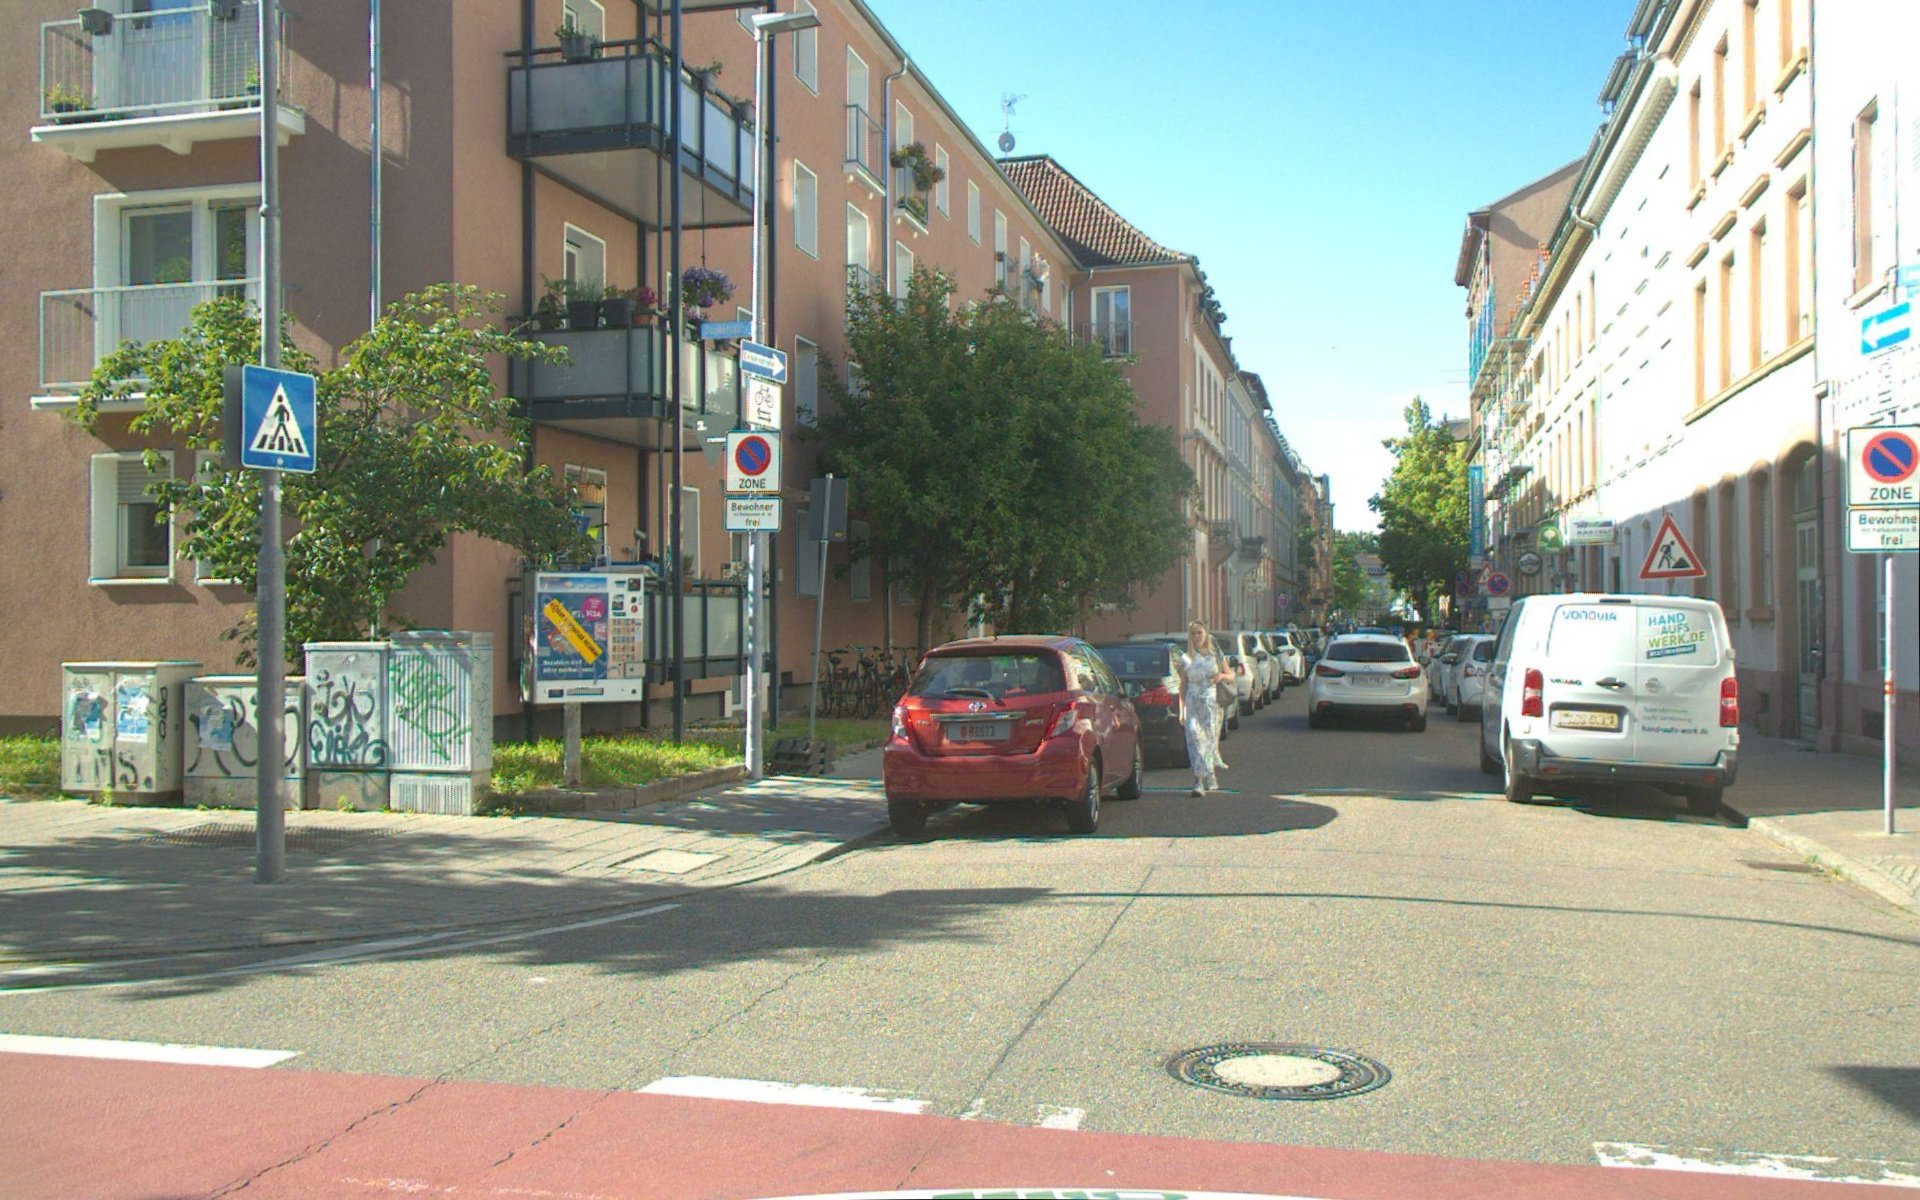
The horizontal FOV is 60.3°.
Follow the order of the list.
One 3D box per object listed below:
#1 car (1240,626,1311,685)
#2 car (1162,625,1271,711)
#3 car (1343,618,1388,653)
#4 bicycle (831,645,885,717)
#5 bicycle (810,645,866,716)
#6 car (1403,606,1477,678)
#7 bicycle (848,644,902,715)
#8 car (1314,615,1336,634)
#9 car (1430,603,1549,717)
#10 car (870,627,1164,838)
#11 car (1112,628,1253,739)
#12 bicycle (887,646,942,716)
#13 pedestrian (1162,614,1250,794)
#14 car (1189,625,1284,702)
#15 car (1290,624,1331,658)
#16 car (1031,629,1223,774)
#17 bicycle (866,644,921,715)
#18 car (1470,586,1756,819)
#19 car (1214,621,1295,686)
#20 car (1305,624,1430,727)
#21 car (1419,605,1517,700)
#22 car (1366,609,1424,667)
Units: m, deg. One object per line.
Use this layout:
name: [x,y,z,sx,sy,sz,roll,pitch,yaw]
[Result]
car: [8.709,1.488,45.497,1.618,1.526,3.765,-1,-1,15]
car: [4.937,1.249,31.455,1.618,1.526,3.765,-1,-1,15]
car: [17.351,1.507,70.618,1.723,1.435,4.330,-1,-1,15]
bicycle: [-1.610,1.257,25.992,0.263,1.091,1.201,0,-1,-35]
bicycle: [-1.905,1.243,25.785,0.288,1.053,1.201,0,-1,-35]
car: [13.539,1.165,46.735,1.854,1.892,3.997,-2,-1,16]
bicycle: [-1.360,1.244,26.196,0.250,1.089,1.201,0,-1,-35]
car: [30.727,2.076,139.084,1.618,1.526,3.765,-1,-1,15]
car: [9.446,1.027,29.746,1.854,1.892,3.997,-1,-1,15]
car: [0.628,1.033,14.213,1.649,1.526,3.809,-2,-1,15]
car: [3.443,1.207,25.049,1.618,1.526,3.765,-1,-1,15]
bicycle: [-0.735,1.281,26.455,0.250,1.090,1.204,0,-1,-35]
pedestrian: [2.309,0.962,15.594,0.717,1.642,0.816,-1,-1,3]
car: [5.954,1.319,35.373,1.618,1.526,3.765,-1,-1,15]
car: [16.022,1.855,75.551,1.618,1.526,3.765,-1,-1,15]
car: [2.104,1.121,19.811,1.618,1.526,4.082,-1,-1,15]
bicycle: [-1.069,1.253,26.388,0.250,1.090,1.201,0,-1,-35]
car: [6.252,0.878,16.411,1.854,1.892,5.018,2,0,13]
car: [7.252,1.276,40.504,1.618,1.526,3.765,-1,-1,15]
car: [6.601,1.159,26.639,1.792,1.482,3.965,-1,0,15]
car: [10.658,1.072,34.917,1.854,1.892,3.997,-1,-1,15]
car: [14.933,1.287,56.722,1.854,1.892,3.997,-1,-1,15]
